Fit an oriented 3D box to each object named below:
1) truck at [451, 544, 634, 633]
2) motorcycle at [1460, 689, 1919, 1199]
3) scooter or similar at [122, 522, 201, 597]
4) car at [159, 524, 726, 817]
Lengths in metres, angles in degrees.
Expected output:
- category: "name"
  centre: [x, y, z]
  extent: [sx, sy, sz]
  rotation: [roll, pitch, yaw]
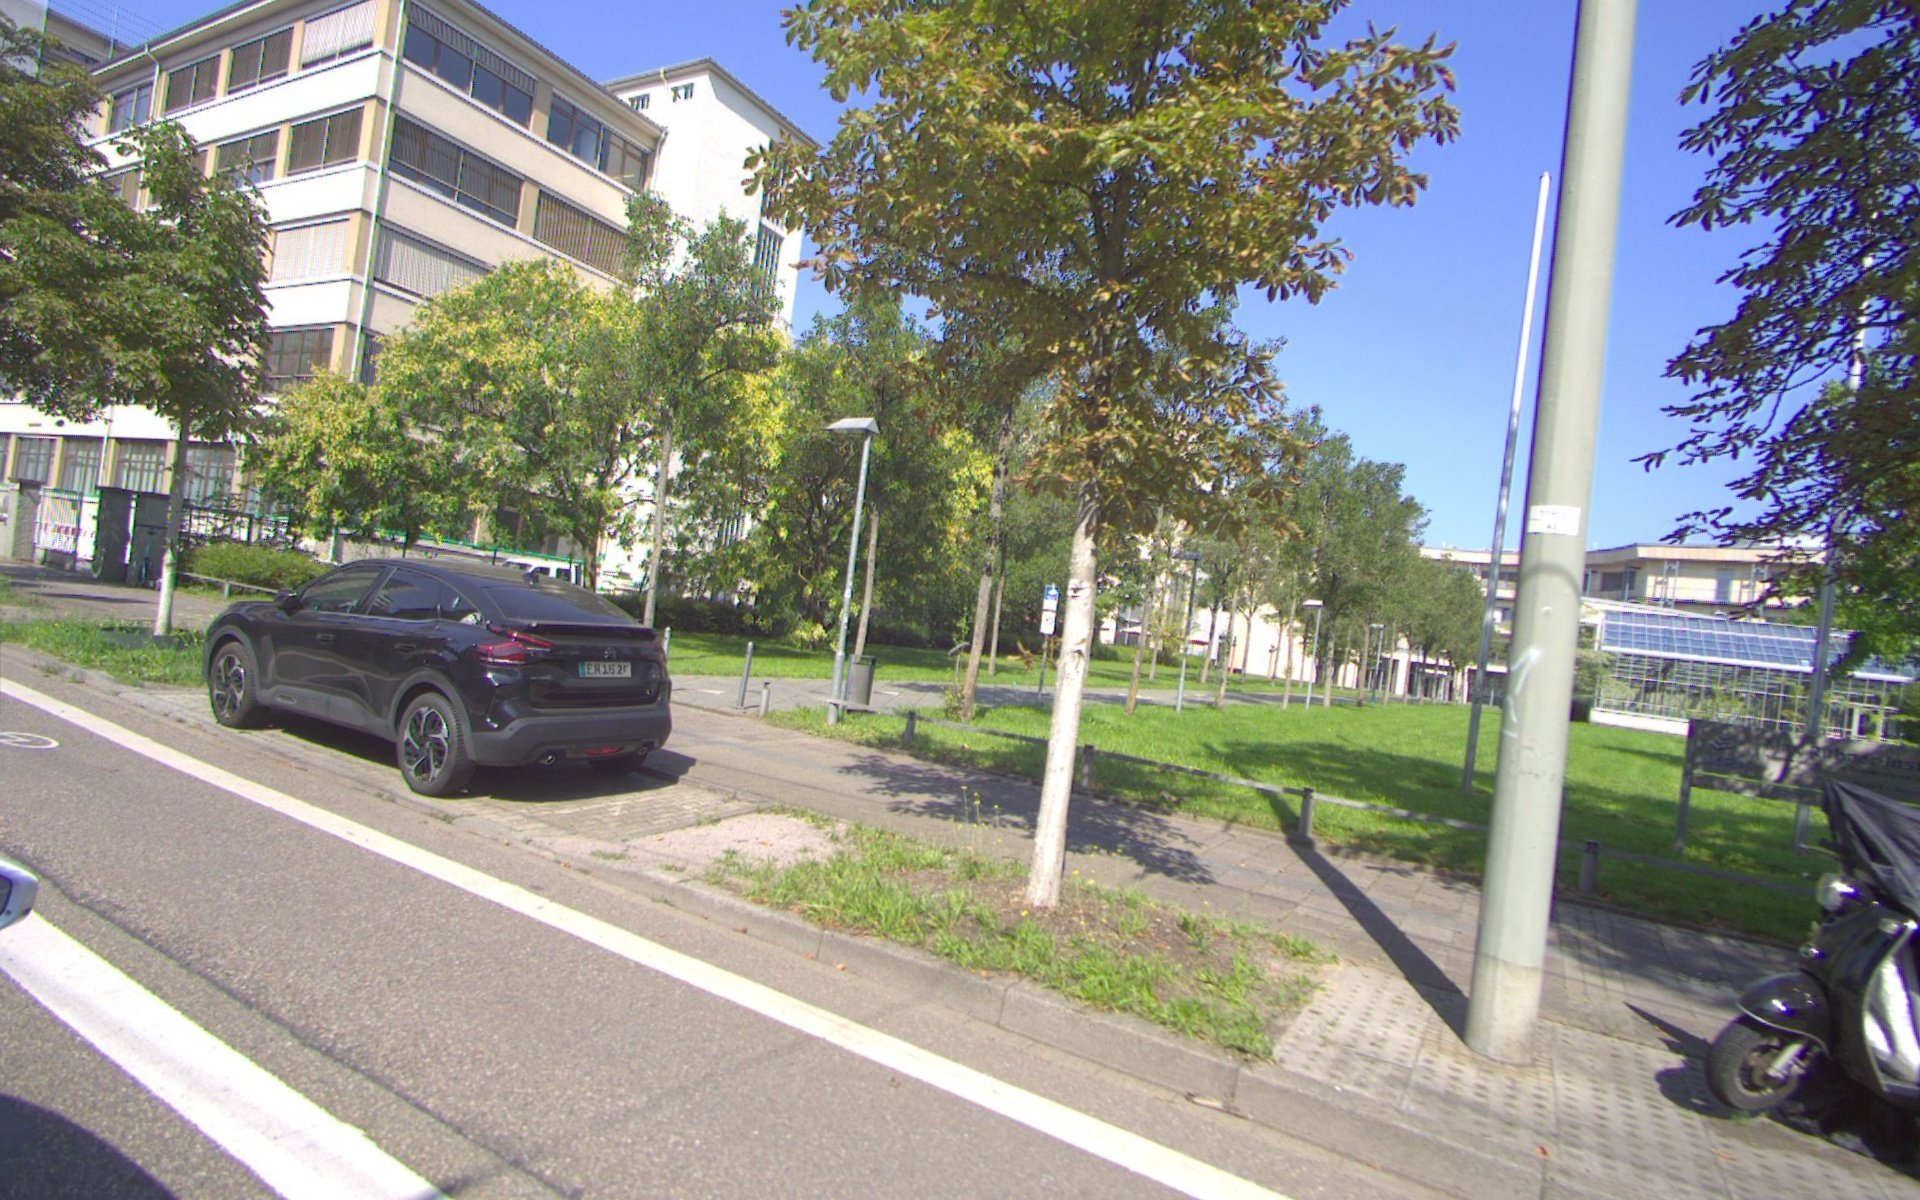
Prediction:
- category: "truck"
  centre: [-14.714, -0.325, 35.819]
  extent: [2.261, 2.352, 5.518]
  rotation: [7, -2, 32]
- category: "motorcycle"
  centre: [3.359, 1.277, 3.720]
  extent: [2.408, 1.533, 0.854]
  rotation: [8, -1, 6]
- category: "scooter or similar"
  centre: [-15.485, -0.794, 19.494]
  extent: [1.788, 1.274, 0.557]
  rotation: [7, -1, 34]
- category: "car"
  centre: [-4.259, 0.413, 8.074]
  extent: [4.531, 1.534, 1.759]
  rotation: [7, -1, 30]
